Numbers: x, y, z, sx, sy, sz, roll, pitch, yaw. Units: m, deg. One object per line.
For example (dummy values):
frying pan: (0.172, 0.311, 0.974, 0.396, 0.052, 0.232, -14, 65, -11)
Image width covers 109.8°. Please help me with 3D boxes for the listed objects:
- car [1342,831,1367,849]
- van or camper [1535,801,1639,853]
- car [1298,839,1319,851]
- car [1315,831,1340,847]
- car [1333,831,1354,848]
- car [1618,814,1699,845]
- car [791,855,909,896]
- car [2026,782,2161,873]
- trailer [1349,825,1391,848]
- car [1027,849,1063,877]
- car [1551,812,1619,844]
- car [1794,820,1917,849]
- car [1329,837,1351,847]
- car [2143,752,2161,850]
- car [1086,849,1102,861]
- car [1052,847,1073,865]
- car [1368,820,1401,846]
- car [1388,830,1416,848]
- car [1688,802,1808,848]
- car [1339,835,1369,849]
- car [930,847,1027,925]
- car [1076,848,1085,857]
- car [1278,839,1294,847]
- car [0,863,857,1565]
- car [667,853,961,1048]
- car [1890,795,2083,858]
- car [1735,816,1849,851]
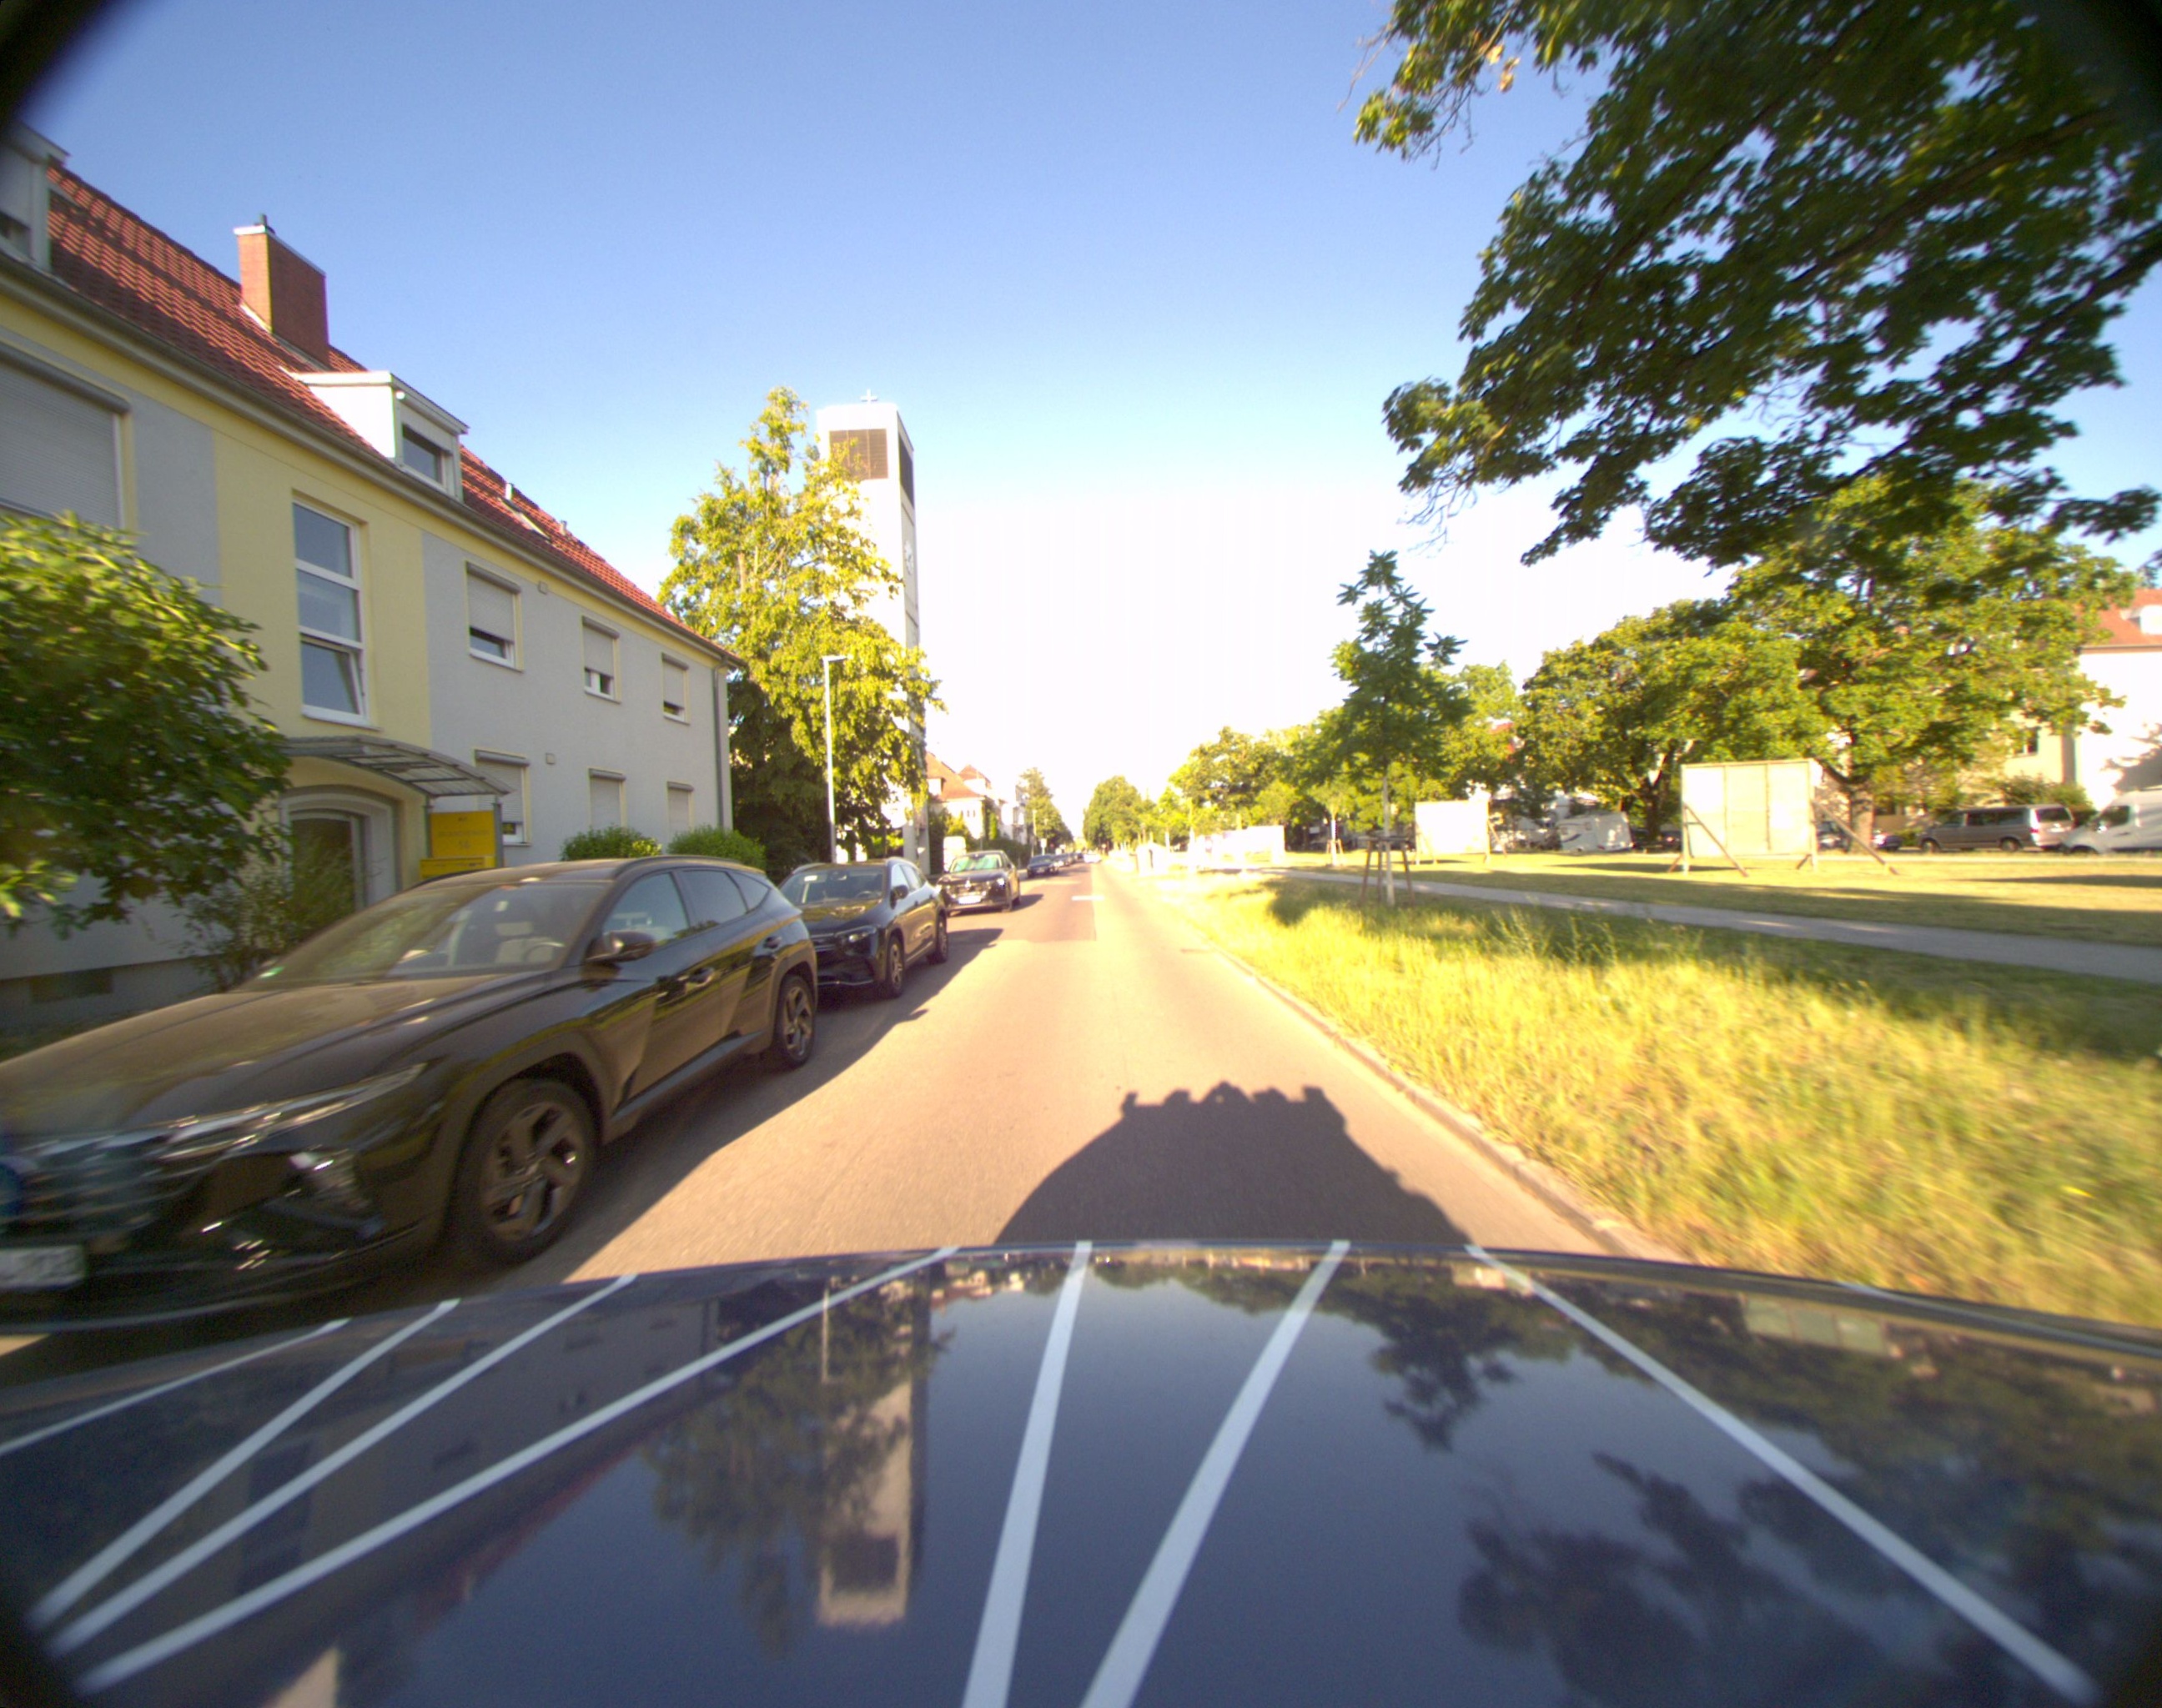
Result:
car: (41.496, -2.076, 115.262, 1.950, 2.625, 5.043, 1, 2, 1)
van or camper: (34.618, -1.759, 52.323, 2.648, 3.244, 6.904, -2, 0, 2)
car: (35.771, -1.422, 119.535, 1.998, 1.718, 4.344, -2, 0, 0)
car: (35.507, -2.091, 109.481, 1.999, 2.161, 4.570, -2, 0, -1)
car: (41.519, -2.327, 120.114, 1.998, 2.527, 3.998, -2, 2, 1)
car: (40.831, -1.676, 53.938, 1.974, 1.993, 5.049, -2, 1, 2)
car: (-10.795, 0.979, 35.822, 4.859, 1.478, 2.001, -3, 4, 0)
car: (34.185, -0.798, 23.590, 2.266, 2.810, 5.870, 1, 2, 1)
trailer: (35.190, -2.154, 92.786, 2.479, 2.644, 6.634, 1, 2, 0)
car: (-2.323, 0.544, 50.075, 1.827, 1.552, 4.621, -8, 0, 2)
car: (34.618, -1.759, 52.323, 1.998, 2.002, 4.000, -2, 0, 2)
car: (40.618, -1.012, 40.058, 1.998, 1.395, 4.562, 1, 2, 5)
car: (35.399, -1.674, 103.900, 1.857, 1.308, 4.042, -3, 1, 4)
car: (40.005, -1.803, 24.348, 2.309, 3.539, 6.763, 1, 2, 1)
car: (1.754, 0.085, 102.530, 1.998, 1.483, 3.999, -2, 1, 1)
car: (-1.984, 0.225, 81.849, 1.998, 1.588, 4.885, -6, 1, 0)
car: (41.193, -2.791, 103.284, 1.998, 3.230, 6.075, -2, 0, 1)
car: (40.810, -1.869, 96.706, 1.998, 2.142, 4.000, -2, 0, 2)
car: (41.009, -1.764, 46.974, 1.998, 2.583, 6.089, 1, 2, 1)
car: (35.435, -1.510, 98.645, 1.999, 1.633, 4.950, -3, 1, -1)
car: (-2.711, 0.774, 21.253, 1.837, 1.722, 5.031, -4, 1, 1)
car: (-0.005, -0.359, 184.340, 1.998, 2.179, 4.001, -2, 0, 2)
car: (42.084, -2.168, 156.114, 1.999, 1.490, 3.999, -2, 0, -3)
car: (-3.015, 0.972, 4.317, 1.858, 1.647, 4.819, -3, 0, 1)
car: (-2.957, 0.940, 9.694, 1.938, 1.710, 4.621, -5, 0, 1)
car: (40.226, -1.206, 34.047, 2.141, 2.589, 5.324, 1, 2, -1)
car: (34.193, -0.959, 36.707, 1.417, 1.555, 4.309, -3, 1, 0)
